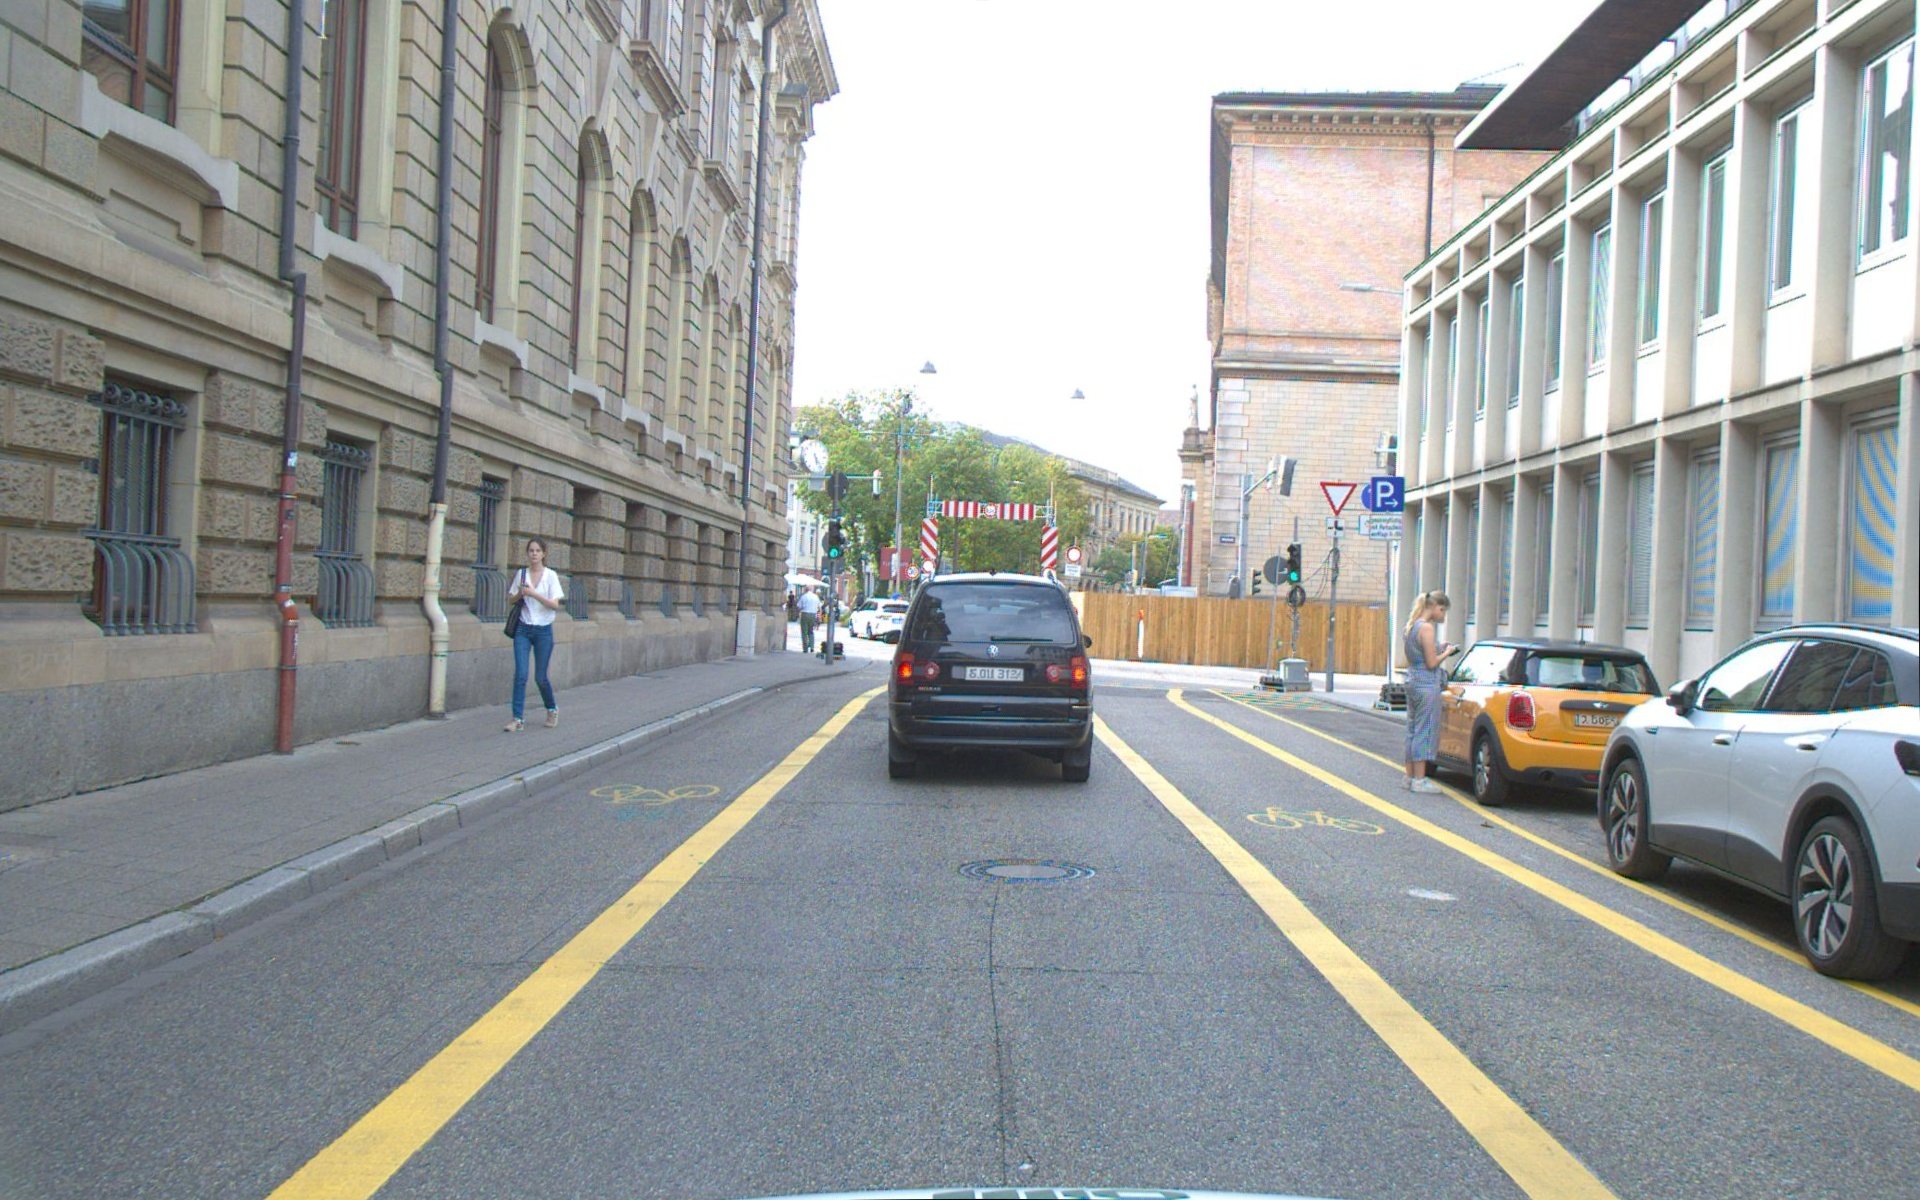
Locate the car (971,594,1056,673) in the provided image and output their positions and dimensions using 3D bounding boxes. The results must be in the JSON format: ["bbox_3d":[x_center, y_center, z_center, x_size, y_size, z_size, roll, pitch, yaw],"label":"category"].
[{"bbox_3d":[1.156,0.738,37.317,1.737,1.613,4.000,2,-1,0],"label":"car"}]

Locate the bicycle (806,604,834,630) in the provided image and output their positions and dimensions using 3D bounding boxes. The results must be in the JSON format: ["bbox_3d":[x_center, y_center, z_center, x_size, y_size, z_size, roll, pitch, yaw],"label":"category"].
[{"bbox_3d":[-5.723,0.702,67.496,0.723,1.026,2.060,2,-1,-16],"label":"bicycle"}]

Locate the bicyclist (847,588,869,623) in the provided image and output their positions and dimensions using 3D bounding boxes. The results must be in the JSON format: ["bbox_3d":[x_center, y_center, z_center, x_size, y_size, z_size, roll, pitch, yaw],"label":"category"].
[{"bbox_3d":[-4.177,0.215,67.551,0.723,1.399,0.828,2,-1,-15],"label":"bicyclist"}]

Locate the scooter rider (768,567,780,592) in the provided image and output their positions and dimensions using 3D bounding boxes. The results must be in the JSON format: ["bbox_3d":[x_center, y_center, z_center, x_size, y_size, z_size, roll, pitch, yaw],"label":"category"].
[{"bbox_3d":[-11.821,-1.296,105.046,0.587,1.516,0.679,2,-1,4],"label":"scooter rider"}]

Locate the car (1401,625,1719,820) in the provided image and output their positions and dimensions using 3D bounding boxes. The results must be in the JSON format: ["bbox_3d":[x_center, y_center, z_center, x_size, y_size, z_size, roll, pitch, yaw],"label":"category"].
[{"bbox_3d":[5.349,1.018,15.267,1.645,1.460,3.888,3,-1,3],"label":"car"}]

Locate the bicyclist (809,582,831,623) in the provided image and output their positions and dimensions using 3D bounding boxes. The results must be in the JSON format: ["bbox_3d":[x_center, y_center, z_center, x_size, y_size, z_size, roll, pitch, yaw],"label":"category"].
[{"bbox_3d":[-5.710,0.108,67.533,0.723,1.640,0.692,2,-1,-17],"label":"bicyclist"}]

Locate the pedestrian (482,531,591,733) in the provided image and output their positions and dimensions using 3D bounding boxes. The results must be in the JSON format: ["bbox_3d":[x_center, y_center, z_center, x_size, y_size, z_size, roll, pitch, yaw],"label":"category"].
[{"bbox_3d":[-4.076,0.302,15.981,0.650,1.851,1.048,4,-1,0],"label":"pedestrian"}]

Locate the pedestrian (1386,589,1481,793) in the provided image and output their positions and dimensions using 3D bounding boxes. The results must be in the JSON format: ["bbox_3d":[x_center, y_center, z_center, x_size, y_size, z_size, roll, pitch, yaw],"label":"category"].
[{"bbox_3d":[4.312,0.816,15.104,0.683,1.794,0.706,2,-1,7],"label":"pedestrian"}]

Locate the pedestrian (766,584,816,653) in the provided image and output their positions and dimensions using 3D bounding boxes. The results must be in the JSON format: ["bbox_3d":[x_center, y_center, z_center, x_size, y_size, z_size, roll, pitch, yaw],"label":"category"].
[{"bbox_3d":[-4.706,0.512,46.007,1.027,1.851,0.791,3,-1,37],"label":"pedestrian"}]

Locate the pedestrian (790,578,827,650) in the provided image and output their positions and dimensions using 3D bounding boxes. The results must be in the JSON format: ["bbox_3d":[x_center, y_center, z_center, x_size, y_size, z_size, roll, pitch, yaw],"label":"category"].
[{"bbox_3d":[-4.050,0.377,44.234,0.776,1.851,1.048,4,-1,0],"label":"pedestrian"}]

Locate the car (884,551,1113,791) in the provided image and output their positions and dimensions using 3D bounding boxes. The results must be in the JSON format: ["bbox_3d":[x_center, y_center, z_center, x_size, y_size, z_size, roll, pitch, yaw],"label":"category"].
[{"bbox_3d":[0.413,0.583,15.168,1.752,1.821,4.104,2,-1,3],"label":"car"}]

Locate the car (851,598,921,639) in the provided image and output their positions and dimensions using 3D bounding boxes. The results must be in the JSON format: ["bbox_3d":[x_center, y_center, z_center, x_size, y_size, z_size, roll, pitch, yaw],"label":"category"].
[{"bbox_3d":[-2.633,0.627,58.008,1.623,1.344,3.659,2,-1,-16],"label":"car"}]

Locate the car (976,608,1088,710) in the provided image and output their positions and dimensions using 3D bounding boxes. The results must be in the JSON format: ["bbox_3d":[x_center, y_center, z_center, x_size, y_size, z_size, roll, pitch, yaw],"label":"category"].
[{"bbox_3d":[1.127,0.926,27.516,1.644,1.494,4.103,2,-1,0],"label":"car"}]

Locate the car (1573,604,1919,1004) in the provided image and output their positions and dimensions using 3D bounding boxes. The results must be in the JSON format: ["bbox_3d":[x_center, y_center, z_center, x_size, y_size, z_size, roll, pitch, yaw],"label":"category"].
[{"bbox_3d":[4.990,0.937,8.873,1.822,1.632,4.513,5,0,3],"label":"car"}]

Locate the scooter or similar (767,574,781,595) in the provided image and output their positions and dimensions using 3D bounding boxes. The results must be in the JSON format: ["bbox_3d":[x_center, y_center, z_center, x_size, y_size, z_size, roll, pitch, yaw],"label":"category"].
[{"bbox_3d":[-11.818,-1.000,105.076,0.587,1.277,1.553,2,-1,3],"label":"scooter or similar"}]

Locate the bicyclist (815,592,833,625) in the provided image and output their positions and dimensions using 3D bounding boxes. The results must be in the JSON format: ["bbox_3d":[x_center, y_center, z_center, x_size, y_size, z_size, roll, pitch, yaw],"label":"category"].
[{"bbox_3d":[-6.363,0.412,77.194,0.722,1.495,0.806,2,-1,-11],"label":"bicyclist"}]

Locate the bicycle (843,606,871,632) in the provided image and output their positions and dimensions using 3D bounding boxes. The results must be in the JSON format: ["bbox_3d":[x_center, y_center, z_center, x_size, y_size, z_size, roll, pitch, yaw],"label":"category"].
[{"bbox_3d":[-4.225,0.767,67.645,0.723,1.026,2.060,2,-1,-15],"label":"bicycle"}]
